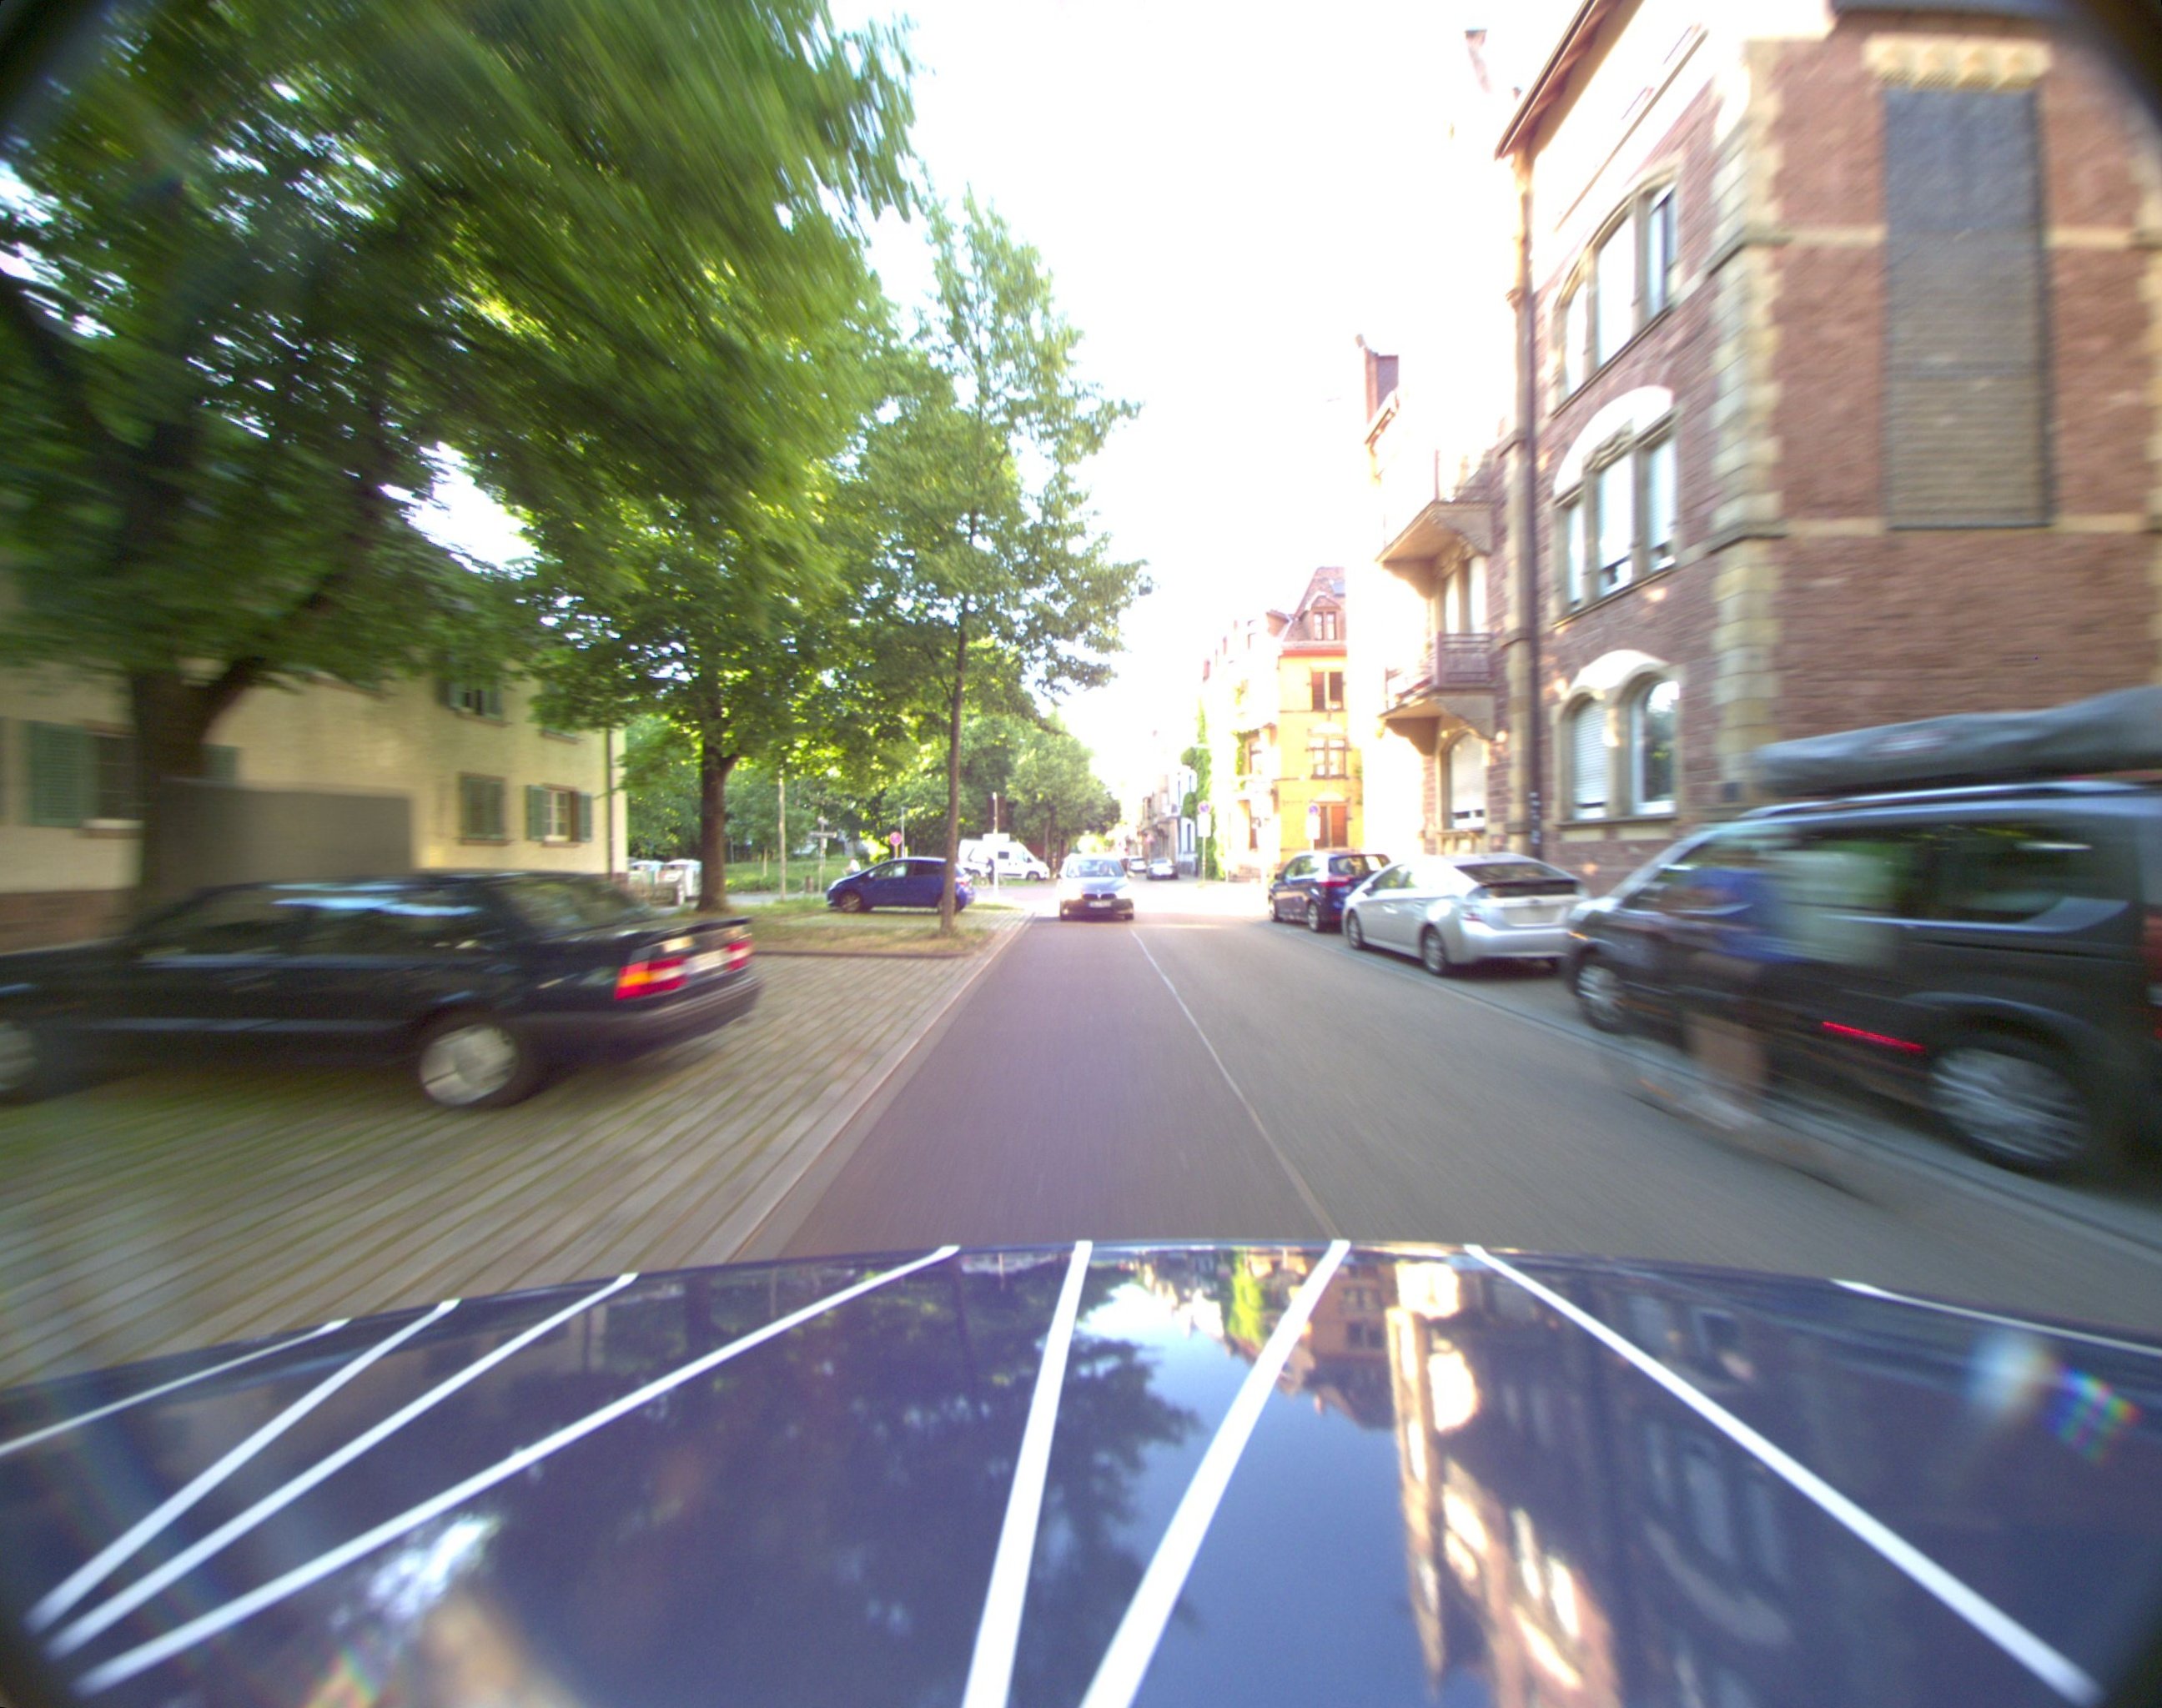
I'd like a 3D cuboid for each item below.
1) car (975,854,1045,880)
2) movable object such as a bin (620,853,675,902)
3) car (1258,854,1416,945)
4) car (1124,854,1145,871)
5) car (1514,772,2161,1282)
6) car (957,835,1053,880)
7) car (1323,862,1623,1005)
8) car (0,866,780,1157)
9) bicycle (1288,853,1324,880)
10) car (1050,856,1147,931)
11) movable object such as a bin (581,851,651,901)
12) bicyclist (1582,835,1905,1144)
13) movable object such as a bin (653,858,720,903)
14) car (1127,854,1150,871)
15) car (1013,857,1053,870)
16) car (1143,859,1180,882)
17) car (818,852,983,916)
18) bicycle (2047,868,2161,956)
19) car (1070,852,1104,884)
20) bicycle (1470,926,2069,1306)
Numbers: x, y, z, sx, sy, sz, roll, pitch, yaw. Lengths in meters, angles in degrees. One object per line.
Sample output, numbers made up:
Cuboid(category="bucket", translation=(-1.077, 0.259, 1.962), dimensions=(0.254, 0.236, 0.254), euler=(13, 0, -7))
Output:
Cuboid(category="car", translation=(-4.509, 0.808, 48.817), dimensions=(4.297, 1.566, 1.978), euler=(0, 1, -1))
Cuboid(category="movable object such as a bin", translation=(-16.602, 0.883, 29.116), dimensions=(1.384, 1.817, 1.151), euler=(0, 1, 7))
Cuboid(category="car", translation=(5.168, 0.836, 15.971), dimensions=(1.734, 1.612, 4.258), euler=(-2, 0, -2))
Cuboid(category="car", translation=(5.710, 0.894, 81.113), dimensions=(1.998, 1.616, 4.143), euler=(0, 1, 2))
Cuboid(category="car", translation=(5.067, 0.650, 4.784), dimensions=(1.974, 1.962, 4.497), euler=(-2, 0, -2))
Cuboid(category="car", translation=(-4.519, 0.177, 46.104), dimensions=(5.628, 2.599, 2.238), euler=(0, 1, -1))
Cuboid(category="car", translation=(5.025, 0.900, 10.569), dimensions=(1.734, 1.490, 4.454), euler=(-2, 0, -2))
Cuboid(category="car", translation=(-4.894, 0.899, 5.143), dimensions=(4.907, 1.434, 1.942), euler=(2, 1, -2))
Cuboid(category="bicycle", translation=(10.617, 0.585, 35.892), dimensions=(1.600, 1.261, 0.565), euler=(-1, 0, 9))
Cuboid(category="car", translation=(0.307, 0.893, 19.120), dimensions=(1.890, 1.612, 4.616), euler=(2, 0, -5))
Cuboid(category="movable object such as a bin", translation=(-18.001, 0.840, 29.488), dimensions=(1.391, 1.843, 1.927), euler=(0, 1, 7))
Cuboid(category="bicyclist", translation=(3.238, 0.598, 3.837), dimensions=(0.667, 1.337, 1.060), euler=(1, 0, -3))
Cuboid(category="movable object such as a bin", translation=(-15.020, 0.981, 29.003), dimensions=(1.638, 1.648, 1.592), euler=(0, 1, 7))
Cuboid(category="car", translation=(5.474, 0.792, 72.461), dimensions=(1.867, 1.538, 3.792), euler=(0, 1, -1))
Cuboid(category="car", translation=(-4.733, 0.938, 75.216), dimensions=(3.878, 1.249, 1.785), euler=(0, 1, -1))
Cuboid(category="car", translation=(5.369, 1.058, 51.101), dimensions=(1.882, 1.396, 4.925), euler=(-2, 0, 0))
Cuboid(category="car", translation=(-4.786, 0.775, 20.619), dimensions=(3.998, 1.547, 1.999), euler=(1, 1, -2))
Cuboid(category="bicycle", translation=(13.970, 0.728, 9.883), dimensions=(2.359, 1.073, 0.610), euler=(0, 0, -7))
Cuboid(category="car", translation=(0.257, 0.705, 40.137), dimensions=(1.649, 1.581, 4.019), euler=(-2, 0, -1))
Cuboid(category="bicycle", translation=(3.215, 1.087, 4.107), dimensions=(0.755, 1.171, 2.620), euler=(1, -1, -3))
